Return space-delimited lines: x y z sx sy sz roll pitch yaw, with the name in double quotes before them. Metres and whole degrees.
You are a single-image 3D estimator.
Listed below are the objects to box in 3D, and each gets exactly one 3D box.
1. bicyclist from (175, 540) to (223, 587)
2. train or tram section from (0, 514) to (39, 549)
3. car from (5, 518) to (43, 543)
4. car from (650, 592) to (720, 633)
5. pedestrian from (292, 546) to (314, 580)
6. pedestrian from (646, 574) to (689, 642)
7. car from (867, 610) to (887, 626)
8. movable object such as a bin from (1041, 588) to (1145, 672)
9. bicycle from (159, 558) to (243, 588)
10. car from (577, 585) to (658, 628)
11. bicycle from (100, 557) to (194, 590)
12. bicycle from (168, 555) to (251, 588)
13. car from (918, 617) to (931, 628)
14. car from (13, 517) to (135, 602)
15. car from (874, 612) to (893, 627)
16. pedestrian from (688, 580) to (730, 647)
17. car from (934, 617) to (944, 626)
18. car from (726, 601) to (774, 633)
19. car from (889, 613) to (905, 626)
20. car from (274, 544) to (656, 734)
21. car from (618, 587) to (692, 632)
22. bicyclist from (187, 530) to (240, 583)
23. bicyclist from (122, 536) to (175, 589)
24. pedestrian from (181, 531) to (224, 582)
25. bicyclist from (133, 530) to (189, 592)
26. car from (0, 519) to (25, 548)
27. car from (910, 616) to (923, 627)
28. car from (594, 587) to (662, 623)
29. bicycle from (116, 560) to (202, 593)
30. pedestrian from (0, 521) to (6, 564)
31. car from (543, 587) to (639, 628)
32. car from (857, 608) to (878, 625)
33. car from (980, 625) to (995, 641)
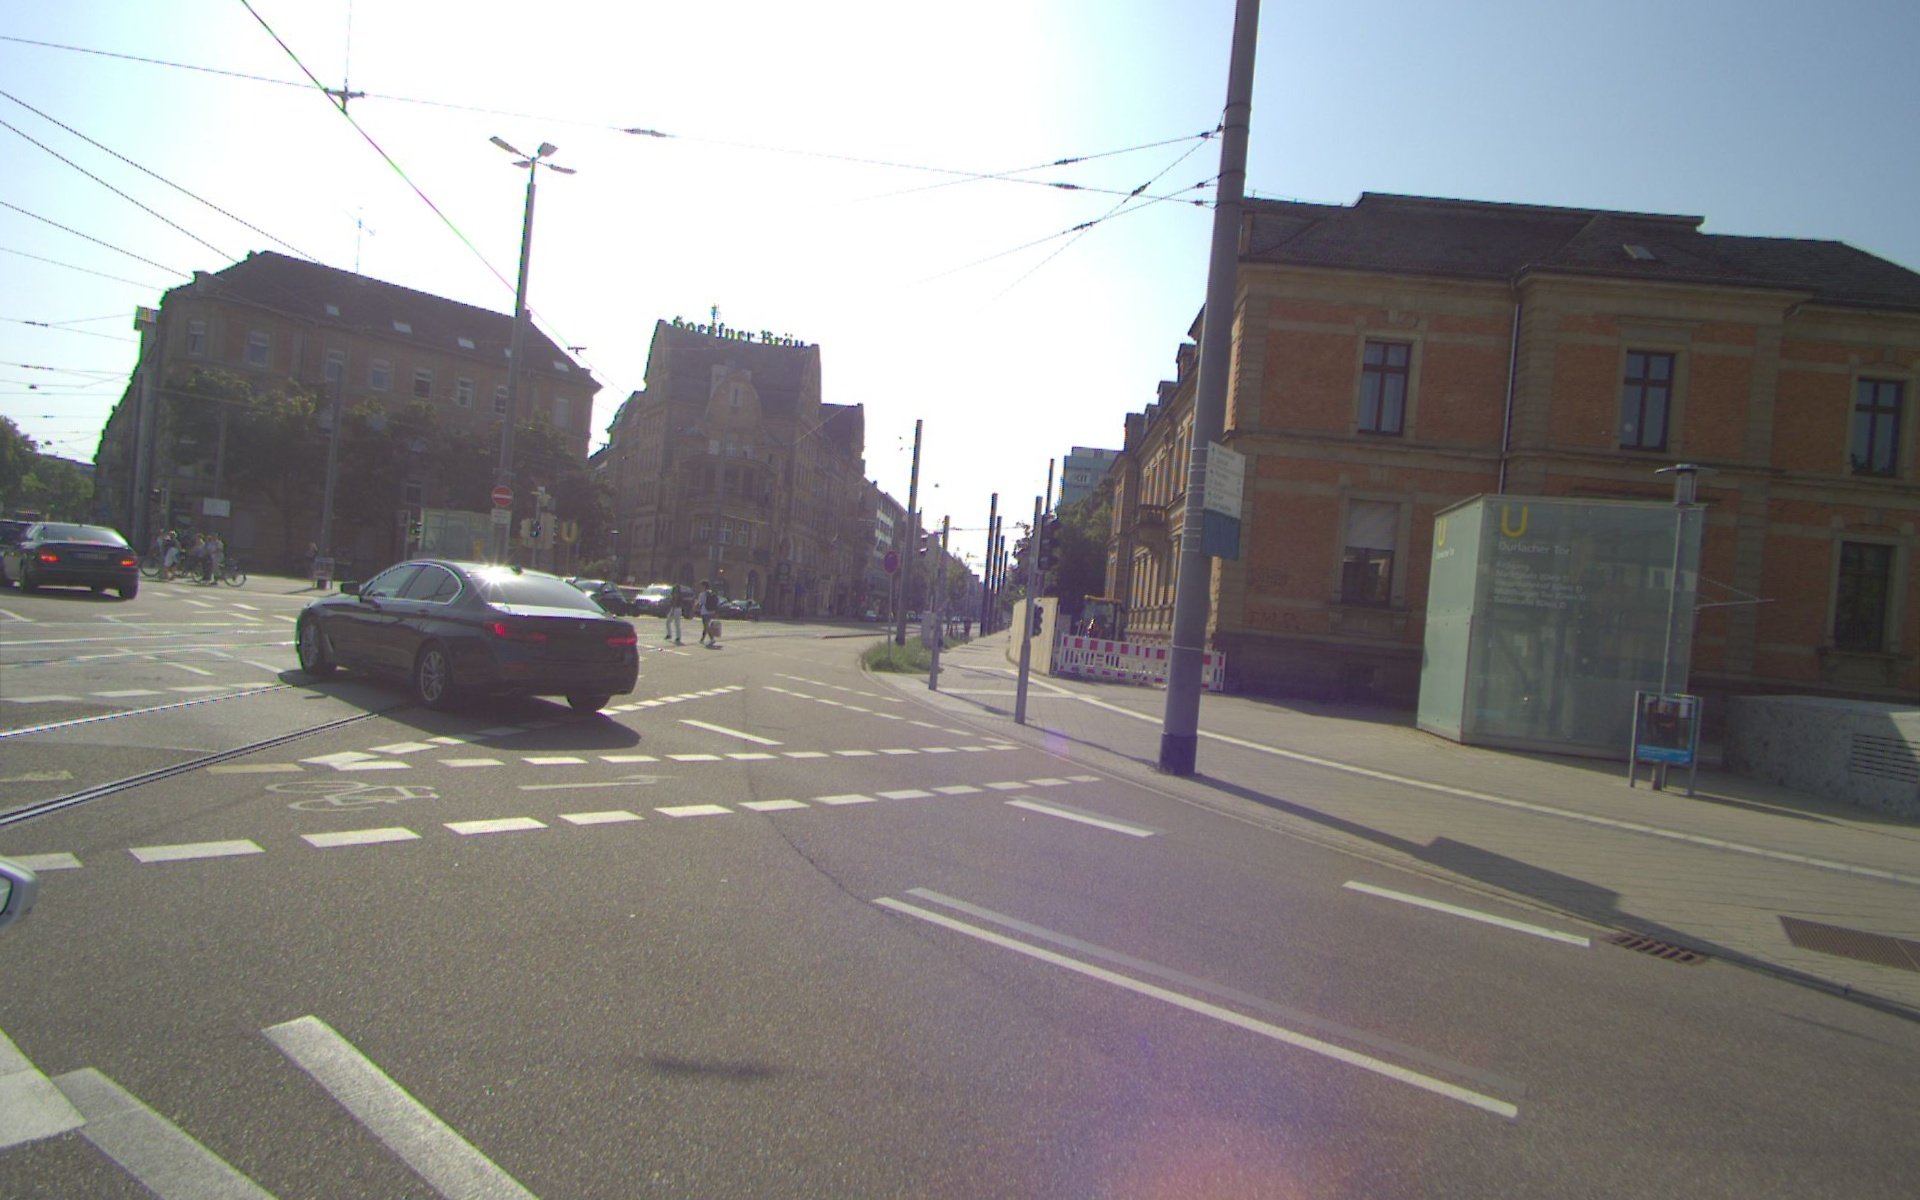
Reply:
"bicyclist" -30.210 -1.434 39.942 1.072 1.701 0.937 5 0 8
"train or tram section" -113.978 -8.310 121.653 10.443 3.745 2.650 5 0 42
"car" -64.177 -4.743 68.966 1.819 1.446 4.359 6 0 -43
"car" -14.456 0.686 53.118 2.095 1.881 4.185 5 -1 4
"pedestrian" -30.817 -1.727 47.204 0.537 1.489 0.666 5 0 -12
"pedestrian" -7.880 0.214 27.119 0.909 1.710 0.834 5 0 -21
"car" -11.166 2.443 135.003 1.895 1.881 4.117 5 -1 4
"movable object such as a bin" 4.596 1.025 36.371 2.407 2.472 7.979 5 -1 -1
"bicycle" -30.223 -1.058 40.138 1.072 0.976 2.628 5 -1 8
"car" -17.172 0.377 50.702 1.873 1.881 4.713 5 -1 6
"bicycle" -30.142 -0.955 37.347 1.072 0.976 2.628 5 -1 8
"bicycle" -26.539 -0.988 35.653 1.073 0.976 2.625 6 -1 -5
"car" -7.229 4.592 205.158 1.895 1.881 4.117 5 -1 4
"car" -18.468 -0.853 20.910 1.677 1.460 4.320 5 -1 -43
"car" -10.904 2.848 143.151 1.895 1.881 4.117 5 -1 4
"pedestrian" -6.826 0.354 27.301 0.909 1.710 0.922 5 0 -18
"car" -4.904 5.099 236.984 1.895 1.881 4.117 5 -1 4
"car" -14.018 1.158 67.386 1.895 1.881 4.117 5 -1 4
"car" -10.270 3.162 164.558 1.895 1.881 4.117 5 -1 4
"car" -5.530 0.342 10.974 4.601 1.509 1.683 5 -1 36
"car" -14.492 0.504 48.019 1.874 1.881 4.071 5 -1 4
"bicyclist" -26.491 -1.530 35.714 1.073 1.729 0.936 5 0 -5
"bicyclist" -30.102 -1.380 37.328 1.072 1.822 0.937 5 0 8
"pedestrian" -28.521 -1.628 37.886 0.845 1.819 0.926 5 0 -9
"bicyclist" -28.407 -1.374 35.774 1.073 2.049 0.936 5 0 -5
"car" -52.288 -3.694 54.716 1.817 1.446 4.363 6 0 -40
"car" -8.372 4.178 192.242 1.895 1.881 4.117 5 -1 4
"car" -20.302 0.334 61.717 1.894 1.881 4.277 5 -1 13
"bicycle" -28.458 -0.824 35.822 1.073 0.976 2.625 6 -1 -5
"pedestrian" -35.147 -2.126 36.270 0.697 1.522 0.780 5 0 18
"car" -15.255 0.363 41.864 1.985 1.414 4.391 5 -1 4
"car" -11.649 2.101 127.071 1.895 1.881 4.117 5 -1 4
"car" 3.600 4.345 130.855 1.713 1.791 4.410 6 -3 4
